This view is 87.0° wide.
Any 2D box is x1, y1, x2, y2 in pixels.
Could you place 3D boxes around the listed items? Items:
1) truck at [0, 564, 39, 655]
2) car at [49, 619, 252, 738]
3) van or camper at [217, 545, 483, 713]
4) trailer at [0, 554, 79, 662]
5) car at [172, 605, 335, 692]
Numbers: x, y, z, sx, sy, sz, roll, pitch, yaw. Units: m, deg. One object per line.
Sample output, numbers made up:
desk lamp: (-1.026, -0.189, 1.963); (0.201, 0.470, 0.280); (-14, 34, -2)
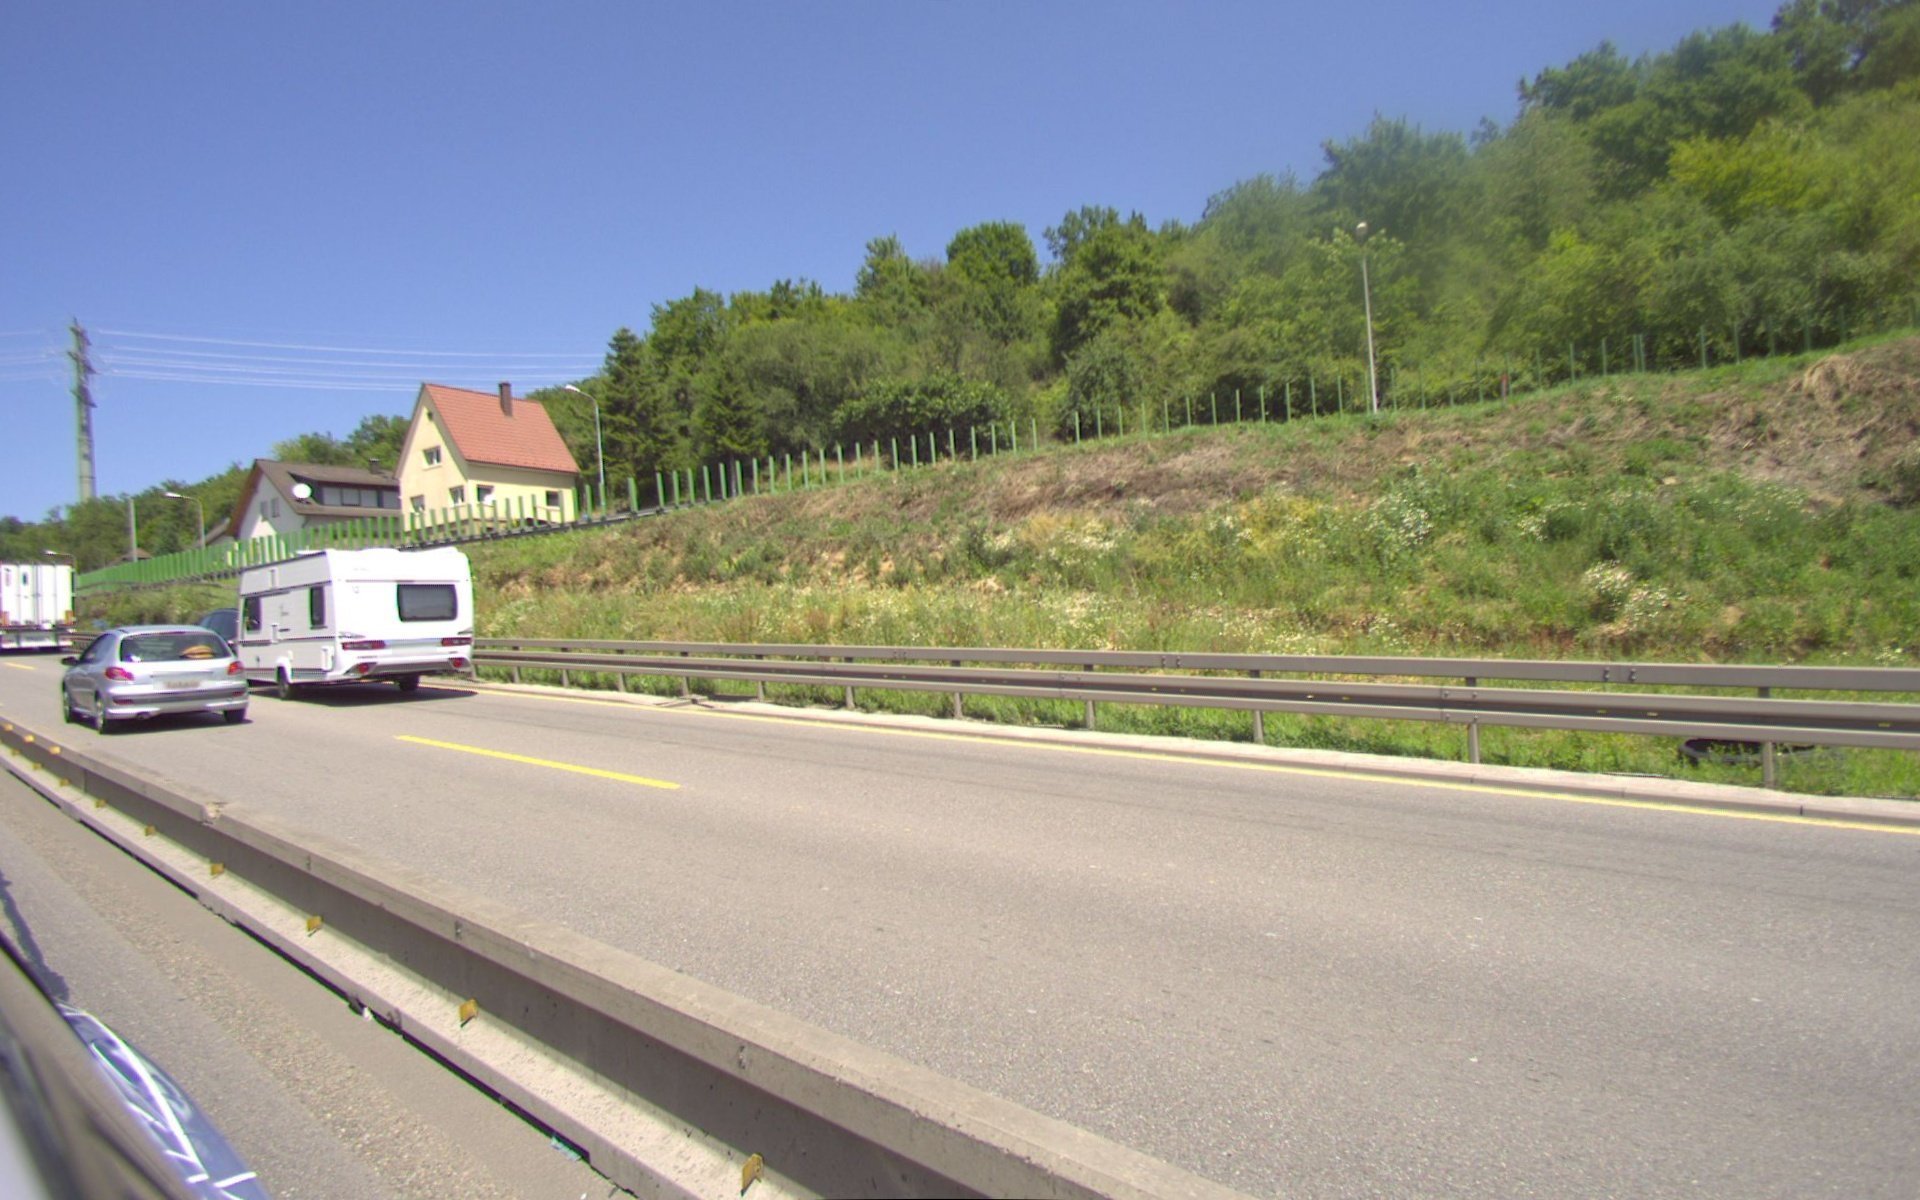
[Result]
truck: (-50.170, 0.513, 52.099); (8.501, 4.427, 3.072); (-1, 0, 41)
car: (-11.772, 1.041, 14.636); (3.904, 1.461, 1.649); (-2, -1, 41)
van or camper: (-11.721, 0.486, 19.148); (6.899, 2.654, 2.325); (-1, 0, 41)
trailer: (-44.591, 0.407, 47.297); (14.619, 4.475, 3.072); (-1, 0, 41)
car: (-16.089, 1.022, 22.951); (4.686, 1.769, 1.973); (-1, 0, 41)
